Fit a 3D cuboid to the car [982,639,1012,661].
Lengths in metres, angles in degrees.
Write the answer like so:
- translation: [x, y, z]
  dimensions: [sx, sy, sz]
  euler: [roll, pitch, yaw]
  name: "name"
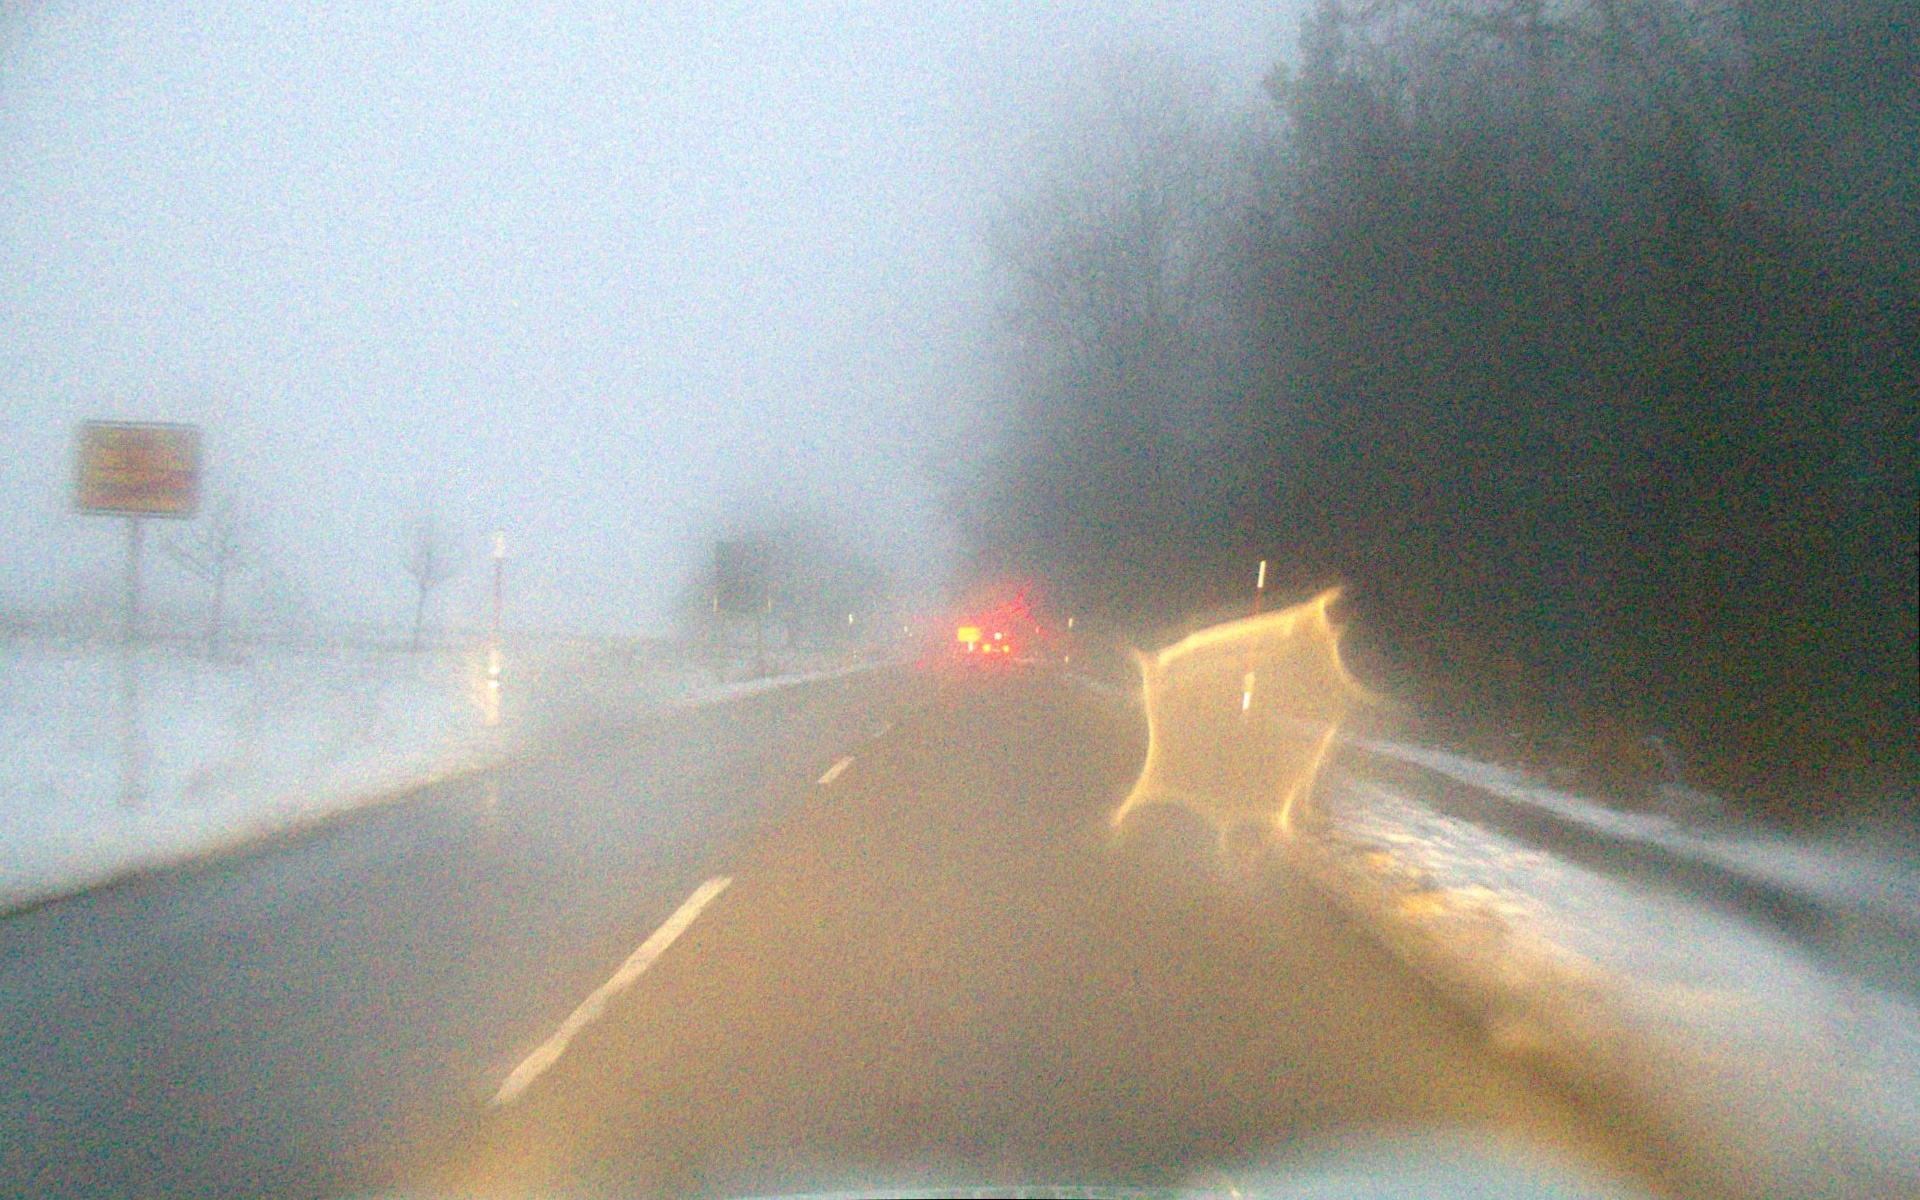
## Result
- translation: [2.484, 3.398, 111.454]
  dimensions: [1.953, 1.445, 3.999]
  euler: [0, -2, 0]
  name: "car"
